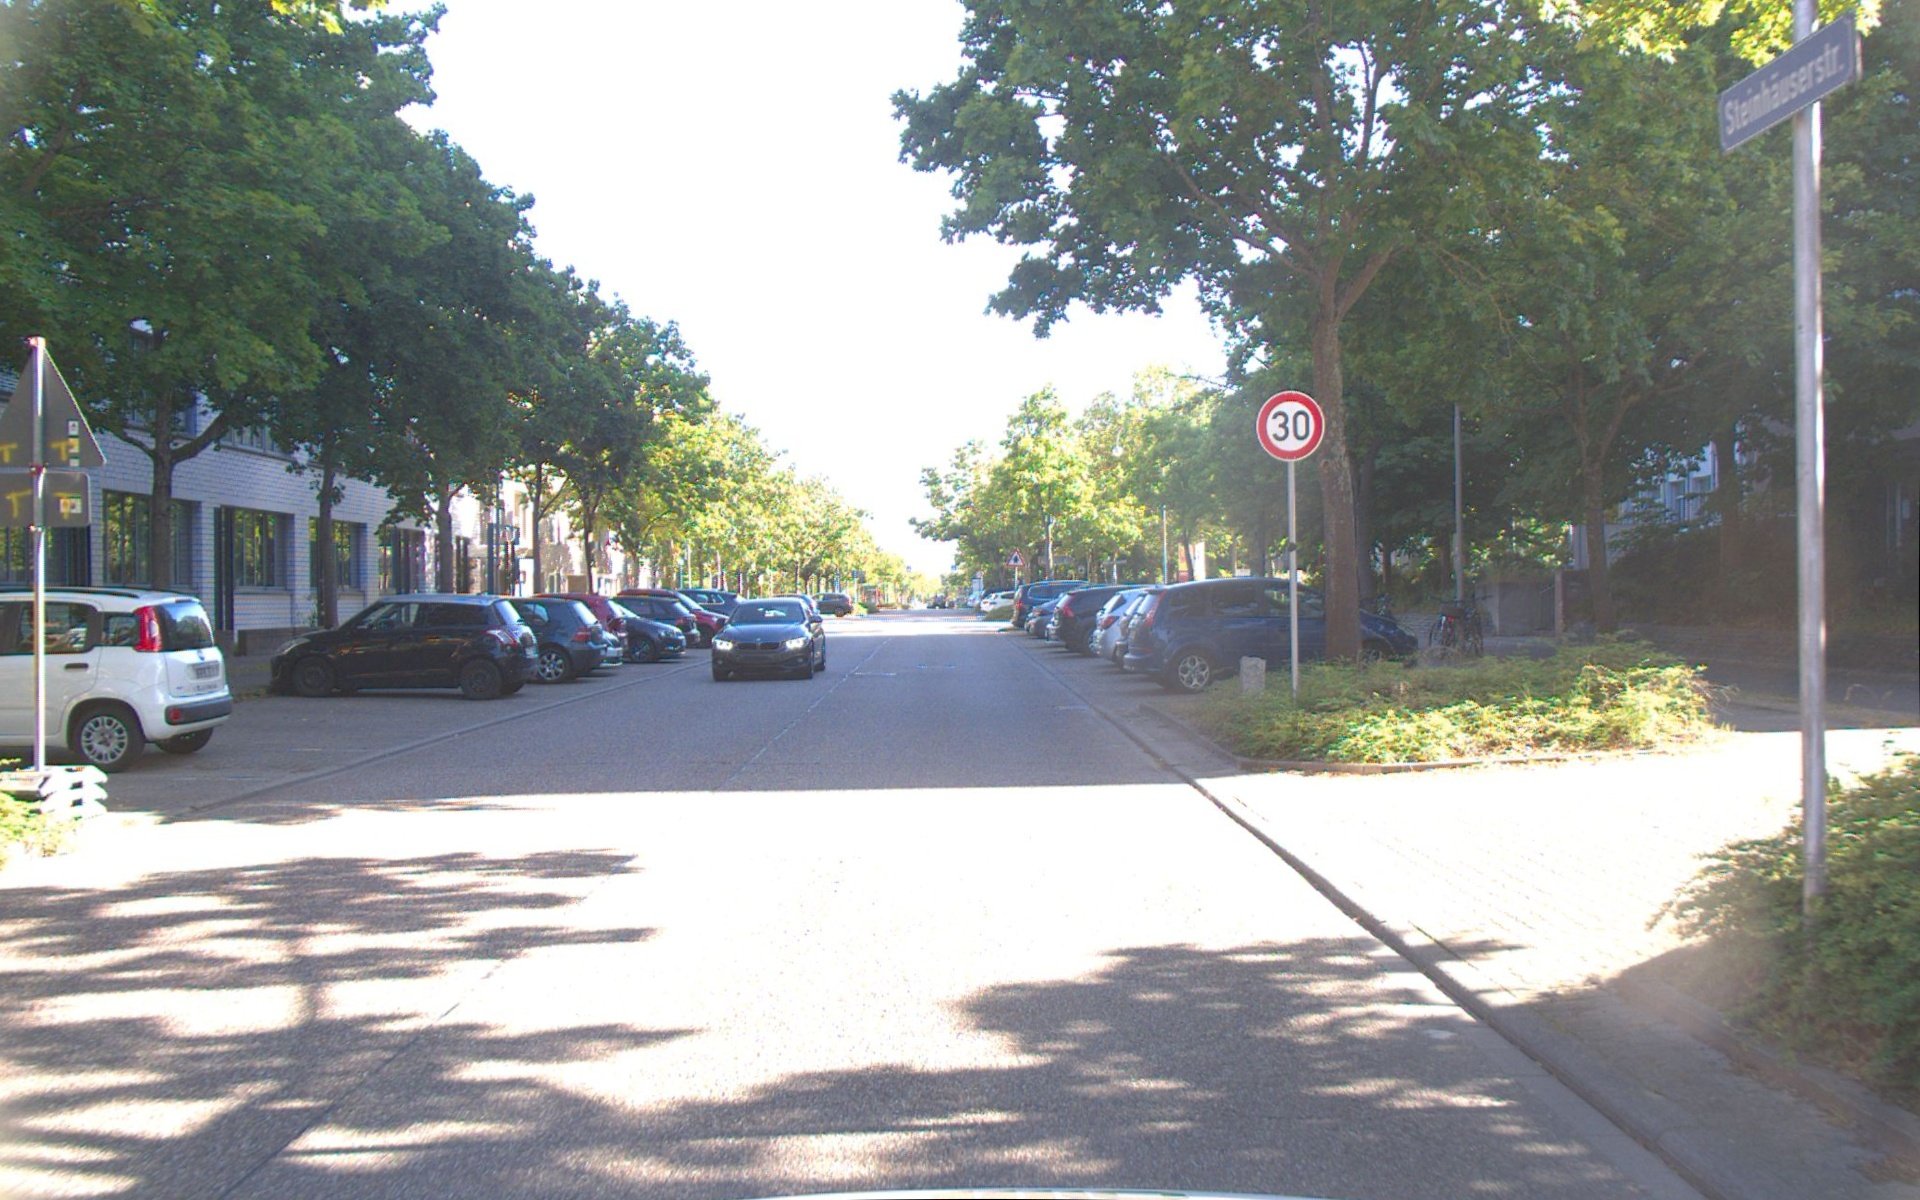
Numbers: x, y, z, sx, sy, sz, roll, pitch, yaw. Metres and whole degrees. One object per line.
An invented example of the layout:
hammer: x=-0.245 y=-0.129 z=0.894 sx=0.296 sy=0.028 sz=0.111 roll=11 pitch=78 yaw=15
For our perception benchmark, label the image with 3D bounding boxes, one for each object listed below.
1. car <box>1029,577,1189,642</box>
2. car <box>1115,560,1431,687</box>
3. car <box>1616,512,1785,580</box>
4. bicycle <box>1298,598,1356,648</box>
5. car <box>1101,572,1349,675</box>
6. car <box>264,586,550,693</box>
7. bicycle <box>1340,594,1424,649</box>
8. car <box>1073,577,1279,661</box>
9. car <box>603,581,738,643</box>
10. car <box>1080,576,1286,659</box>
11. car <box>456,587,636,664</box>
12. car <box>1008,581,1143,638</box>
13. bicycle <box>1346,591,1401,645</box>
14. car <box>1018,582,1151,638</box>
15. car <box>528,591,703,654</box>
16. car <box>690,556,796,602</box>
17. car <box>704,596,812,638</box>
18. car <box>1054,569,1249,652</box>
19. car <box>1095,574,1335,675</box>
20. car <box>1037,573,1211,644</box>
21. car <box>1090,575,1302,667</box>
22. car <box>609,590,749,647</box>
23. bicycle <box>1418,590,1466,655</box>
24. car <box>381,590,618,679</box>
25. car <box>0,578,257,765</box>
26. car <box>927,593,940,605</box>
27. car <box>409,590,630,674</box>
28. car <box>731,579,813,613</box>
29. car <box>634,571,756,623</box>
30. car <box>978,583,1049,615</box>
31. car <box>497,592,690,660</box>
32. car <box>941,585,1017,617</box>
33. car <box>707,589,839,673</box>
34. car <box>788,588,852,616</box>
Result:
car: x=3.901 y=0.246 z=43.555 sx=3.964 sy=1.517 sz=1.548 roll=-2 pitch=-1 yaw=-4
car: x=4.502 y=0.326 z=24.165 sx=4.183 sy=1.662 sz=1.857 roll=-2 pitch=0 yaw=-3
car: x=21.332 y=-1.524 z=47.746 sx=3.992 sy=1.814 sz=1.998 roll=1 pitch=-1 yaw=-5
bicycle: x=8.364 y=0.512 z=37.770 sx=0.373 sy=1.097 sz=1.776 roll=-1 pitch=0 yaw=-21
car: x=4.365 y=0.373 z=27.666 sx=3.804 sy=1.553 sz=1.895 roll=-2 pitch=0 yaw=-1
car: x=-8.116 y=0.565 z=24.494 sx=3.657 sy=1.489 sz=1.676 roll=-1 pitch=0 yaw=-2
bicycle: x=8.601 y=0.428 z=33.766 sx=0.377 sy=1.097 sz=1.759 roll=-1 pitch=0 yaw=-42
car: x=4.198 y=0.363 z=32.528 sx=3.678 sy=1.474 sz=1.878 roll=-2 pitch=0 yaw=-4
car: x=-8.151 y=0.360 z=46.734 sx=3.468 sy=1.686 sz=1.761 roll=-1 pitch=-1 yaw=1
car: x=4.388 y=0.335 z=32.968 sx=3.787 sy=1.493 sz=1.966 roll=-2 pitch=0 yaw=-1
car: x=-8.466 y=0.507 z=34.037 sx=3.352 sy=1.489 sz=1.694 roll=1 pitch=1 yaw=-6
car: x=3.585 y=0.285 z=51.721 sx=3.964 sy=1.609 sz=1.640 roll=-2 pitch=0 yaw=-4
bicycle: x=8.751 y=0.373 z=35.072 sx=0.372 sy=1.097 sz=1.782 roll=-1 pitch=0 yaw=-12
car: x=3.833 y=0.303 z=51.268 sx=3.818 sy=1.685 sz=1.856 roll=-1 pitch=0 yaw=-6
car: x=-8.167 y=0.535 z=39.435 sx=3.910 sy=1.431 sz=1.603 roll=1 pitch=0 yaw=-6
car: x=-8.094 y=-0.778 z=61.923 sx=3.817 sy=1.640 sz=1.856 roll=-1 pitch=0 yaw=-5
car: x=-7.545 y=0.638 z=62.066 sx=3.907 sy=1.507 sz=1.679 roll=-1 pitch=0 yaw=-3
car: x=4.230 y=0.229 z=37.038 sx=4.160 sy=1.581 sz=1.921 roll=-3 pitch=0 yaw=4
car: x=4.174 y=0.390 z=27.532 sx=3.663 sy=1.492 sz=1.910 roll=-2 pitch=0 yaw=0
car: x=3.979 y=0.199 z=40.293 sx=3.968 sy=1.619 sz=1.547 roll=-1 pitch=0 yaw=-8
car: x=4.240 y=0.373 z=30.061 sx=3.562 sy=1.492 sz=1.633 roll=-2 pitch=0 yaw=-2
car: x=-8.572 y=0.572 z=50.637 sx=3.904 sy=1.614 sz=1.765 roll=-2 pitch=-1 yaw=2
bicycle: x=8.274 y=0.372 z=28.428 sx=0.371 sy=1.065 sz=1.886 roll=-2 pitch=0 yaw=4
car: x=-8.035 y=0.594 z=29.078 sx=3.685 sy=1.470 sz=1.631 roll=1 pitch=0 yaw=-1
car: x=-8.419 y=0.648 z=14.827 sx=3.509 sy=1.577 sz=1.636 roll=0 pitch=-3 yaw=-3
car: x=-3.768 y=-0.125 z=236.462 sx=1.894 sy=1.625 sz=4.365 roll=-1 pitch=0 yaw=-1
car: x=-8.386 y=0.593 z=31.743 sx=3.789 sy=1.482 sz=1.753 roll=1 pitch=1 yaw=-4
car: x=-9.200 y=-0.190 z=80.994 sx=3.909 sy=1.559 sz=1.616 roll=-1 pitch=1 yaw=-5
car: x=-9.247 y=-0.114 z=57.904 sx=3.904 sy=1.683 sz=1.861 roll=-1 pitch=0 yaw=2
car: x=3.093 y=-0.052 z=95.838 sx=3.910 sy=1.823 sz=1.998 roll=-1 pitch=0 yaw=-6
car: x=-8.082 y=0.571 z=36.701 sx=3.907 sy=1.437 sz=1.665 roll=1 pitch=-1 yaw=-3
car: x=1.024 y=0.039 z=89.417 sx=3.910 sy=1.653 sz=1.998 roll=-1 pitch=0 yaw=-6
car: x=-3.364 y=0.529 z=30.507 sx=1.775 sy=1.440 sz=4.109 roll=0 pitch=0 yaw=3
car: x=-8.947 y=0.123 z=105.854 sx=3.906 sy=1.713 sz=2.000 roll=-1 pitch=0 yaw=-1
